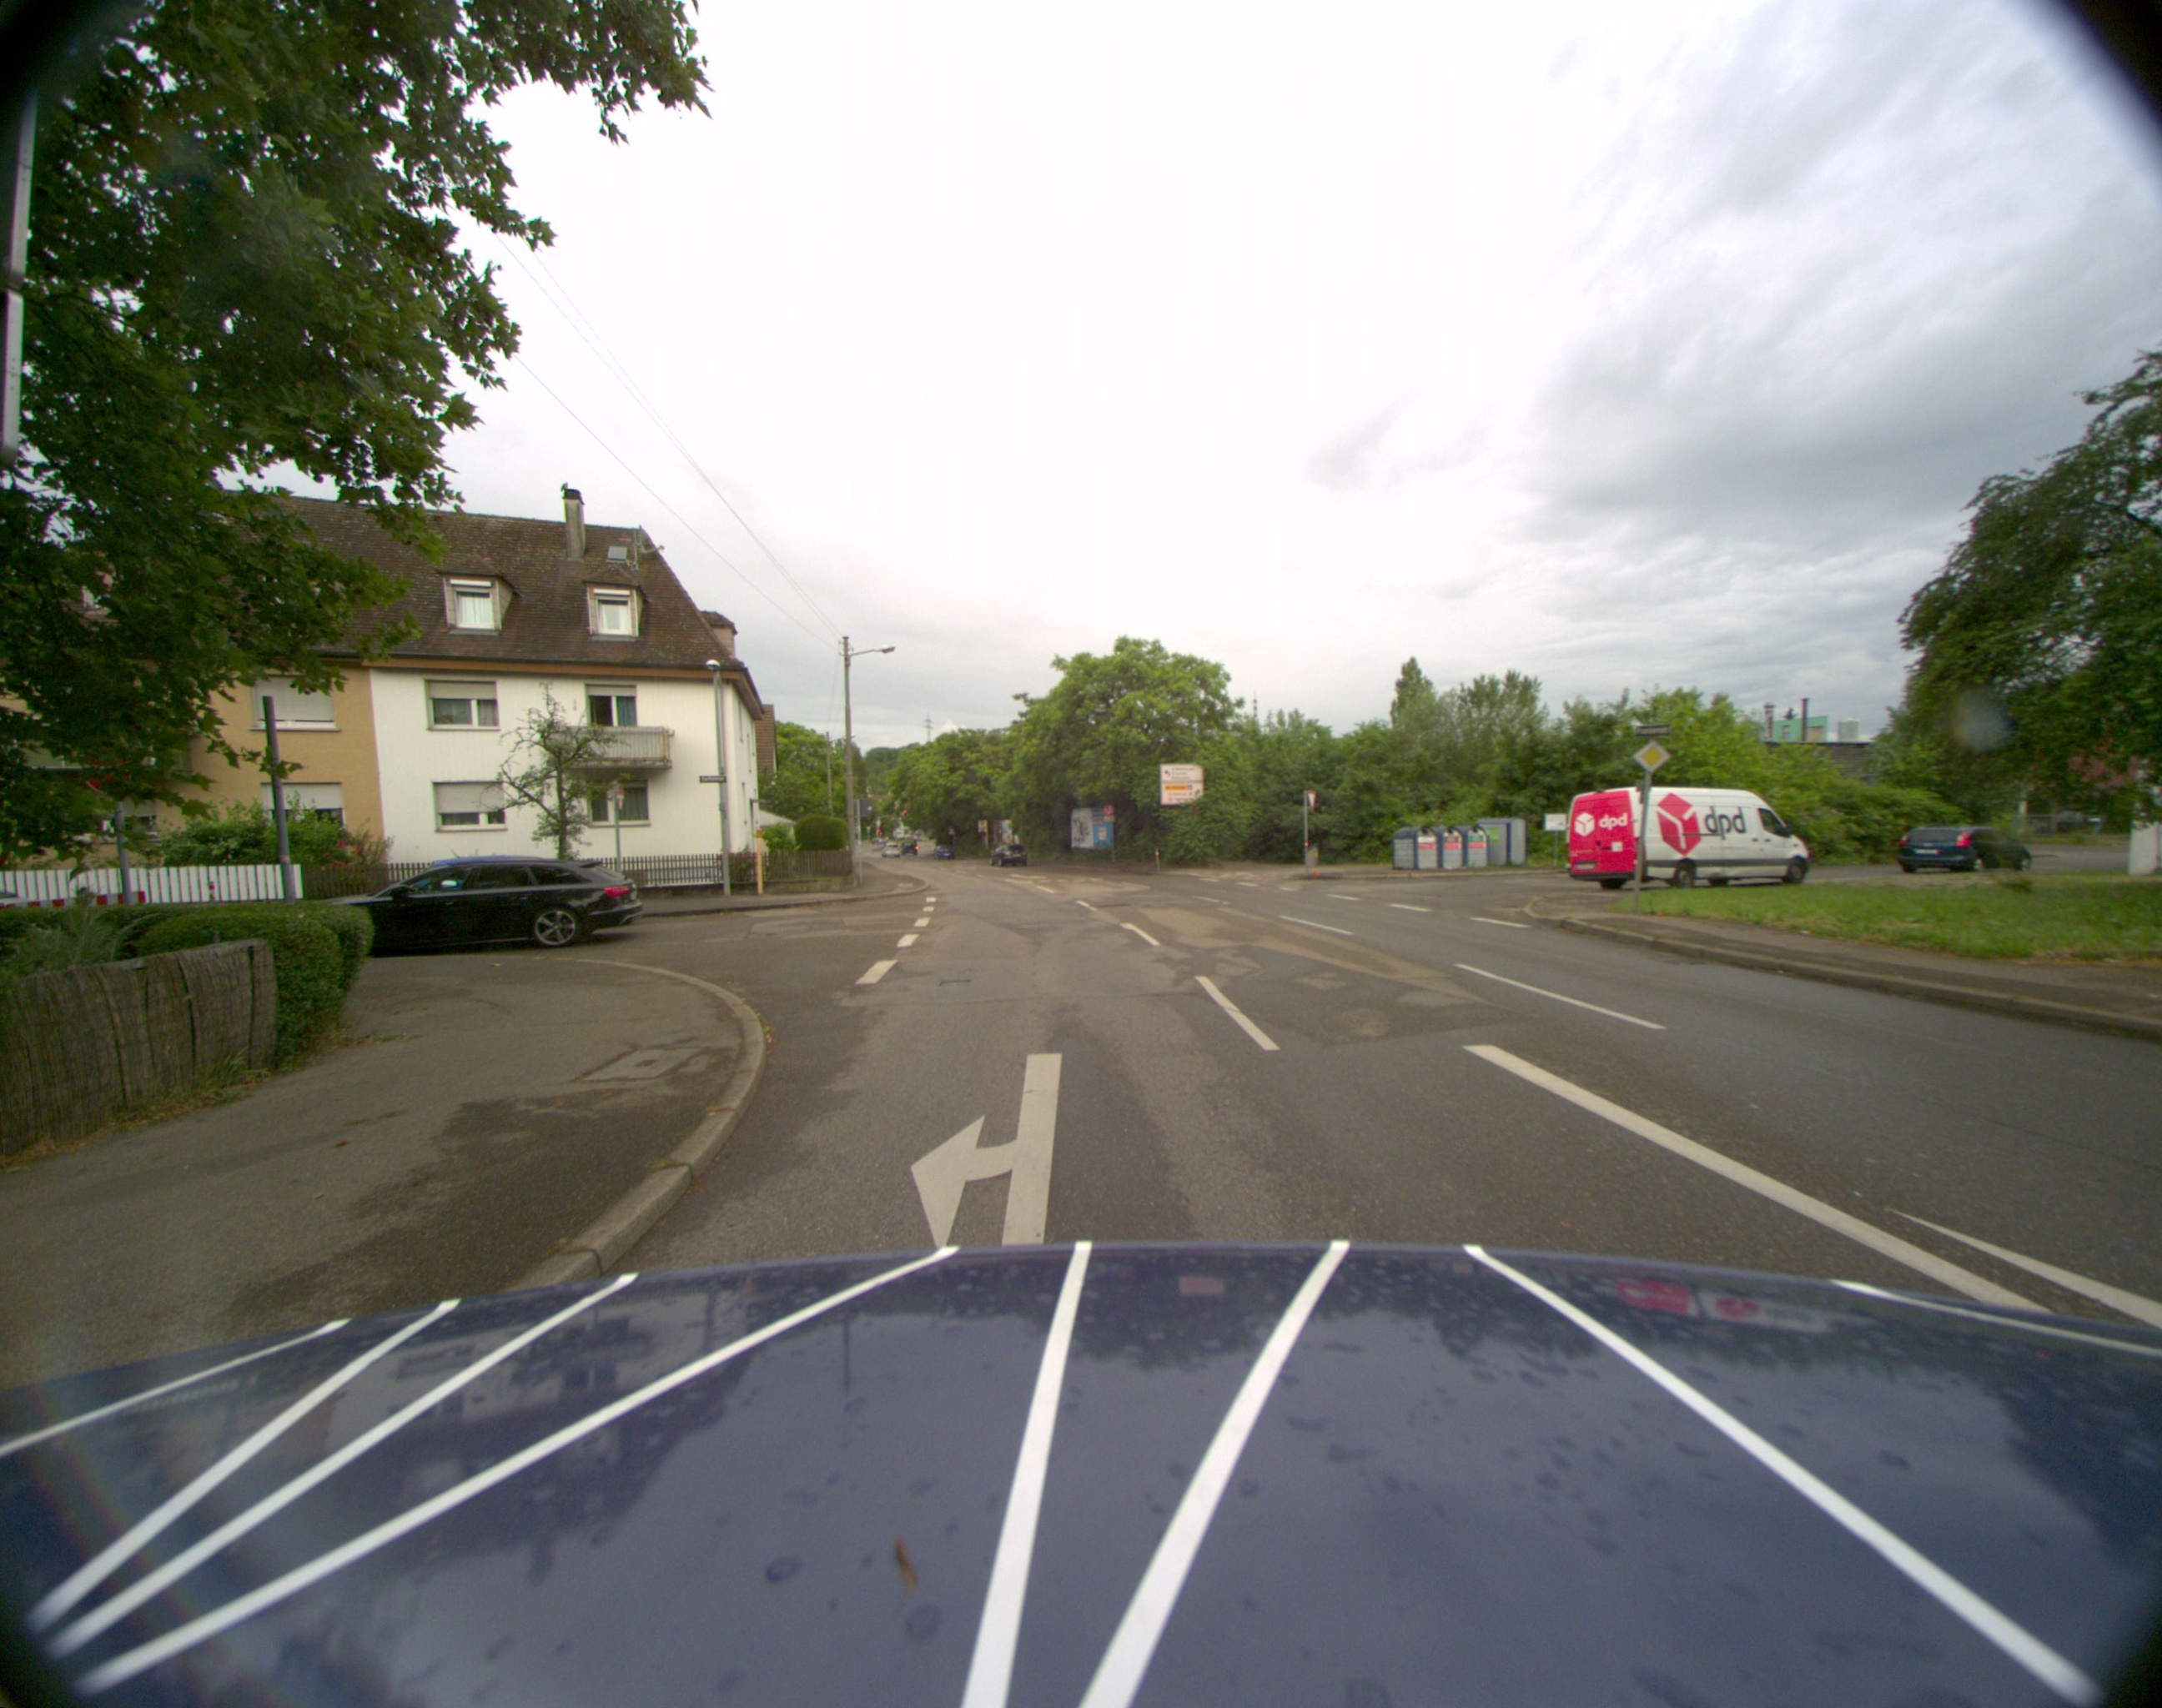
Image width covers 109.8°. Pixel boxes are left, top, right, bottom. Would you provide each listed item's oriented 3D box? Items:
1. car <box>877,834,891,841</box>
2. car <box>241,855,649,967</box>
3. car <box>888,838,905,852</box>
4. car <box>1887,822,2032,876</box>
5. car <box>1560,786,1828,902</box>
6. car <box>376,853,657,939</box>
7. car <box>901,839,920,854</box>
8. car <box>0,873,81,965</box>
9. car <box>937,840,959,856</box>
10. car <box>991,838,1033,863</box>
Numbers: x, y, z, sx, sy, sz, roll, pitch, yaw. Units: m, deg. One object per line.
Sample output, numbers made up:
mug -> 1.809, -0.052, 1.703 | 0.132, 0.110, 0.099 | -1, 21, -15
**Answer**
car -> -39.894, -3.349, 153.922 | 1.903, 1.453, 3.991 | -2, 2, -26
car -> -10.060, 0.818, 12.620 | 4.823, 1.472, 1.882 | -1, 1, -24
car -> -21.850, -1.108, 89.753 | 1.838, 1.570, 4.327 | -3, 2, -14
car -> 30.138, -0.221, 26.079 | 4.257, 1.620, 1.996 | -3, 2, -22
car -> 16.160, -0.357, 20.036 | 6.829, 2.641, 2.258 | -2, 2, -20
car -> -11.127, 0.767, 15.359 | 4.130, 1.472, 1.883 | -1, 1, -17
car -> -22.378, -0.979, 99.671 | 1.965, 1.920, 4.675 | -2, 1, -17
car -> -19.476, 1.130, 12.166 | 3.788, 1.445, 1.769 | -2, 1, -20
car -> -12.984, -0.586, 74.017 | 1.604, 1.417, 3.691 | -2, 1, -17
car -> -4.622, -0.258, 50.176 | 1.849, 1.560, 4.405 | -2, 1, -17
